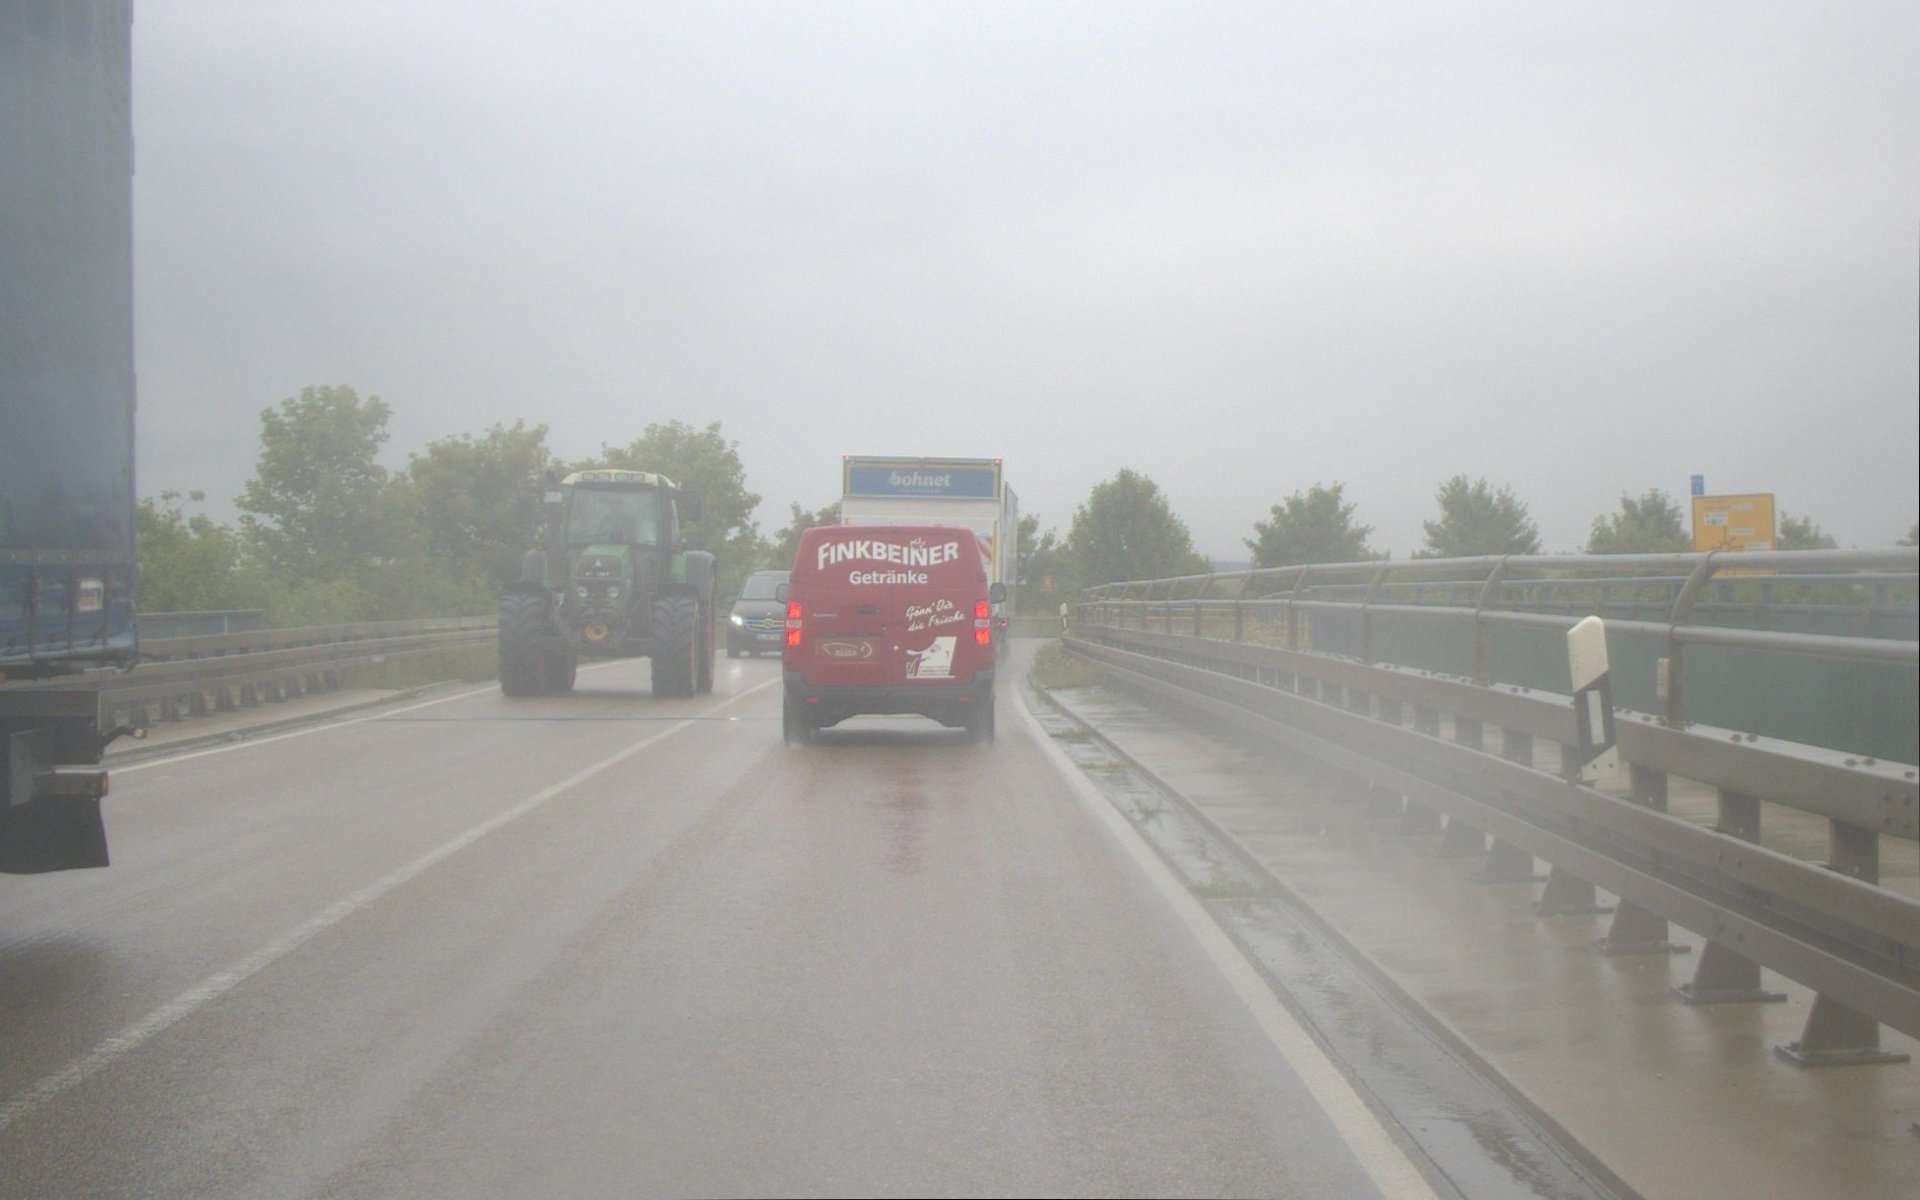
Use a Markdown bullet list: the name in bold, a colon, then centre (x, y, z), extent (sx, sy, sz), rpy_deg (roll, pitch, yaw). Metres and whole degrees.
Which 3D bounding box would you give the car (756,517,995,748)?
- **car**: centre (-0.759, 0.228, 31.132), extent (1.993, 1.919, 4.144), rpy_deg (1, 1, -1)

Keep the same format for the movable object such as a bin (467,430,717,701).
- **movable object such as a bin**: centre (-4.873, -0.454, 46.294), extent (2.748, 3.433, 4.643), rpy_deg (-1, 0, 1)

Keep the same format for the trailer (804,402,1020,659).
- **trailer**: centre (-0.678, -1.121, 58.508), extent (3.201, 3.908, 8.739), rpy_deg (3, 0, 1)

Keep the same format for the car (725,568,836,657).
- **car**: centre (-3.817, 0.232, 73.876), extent (2.066, 1.831, 4.931), rpy_deg (-1, 0, 1)

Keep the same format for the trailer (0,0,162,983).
- **trailer**: centre (-4.520, -0.641, 7.101), extent (2.817, 3.956, 13.737), rpy_deg (0, 1, -1)

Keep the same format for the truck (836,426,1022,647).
- **truck**: centre (-0.494, -1.186, 67.267), extent (3.201, 3.908, 8.739), rpy_deg (3, 0, 1)
